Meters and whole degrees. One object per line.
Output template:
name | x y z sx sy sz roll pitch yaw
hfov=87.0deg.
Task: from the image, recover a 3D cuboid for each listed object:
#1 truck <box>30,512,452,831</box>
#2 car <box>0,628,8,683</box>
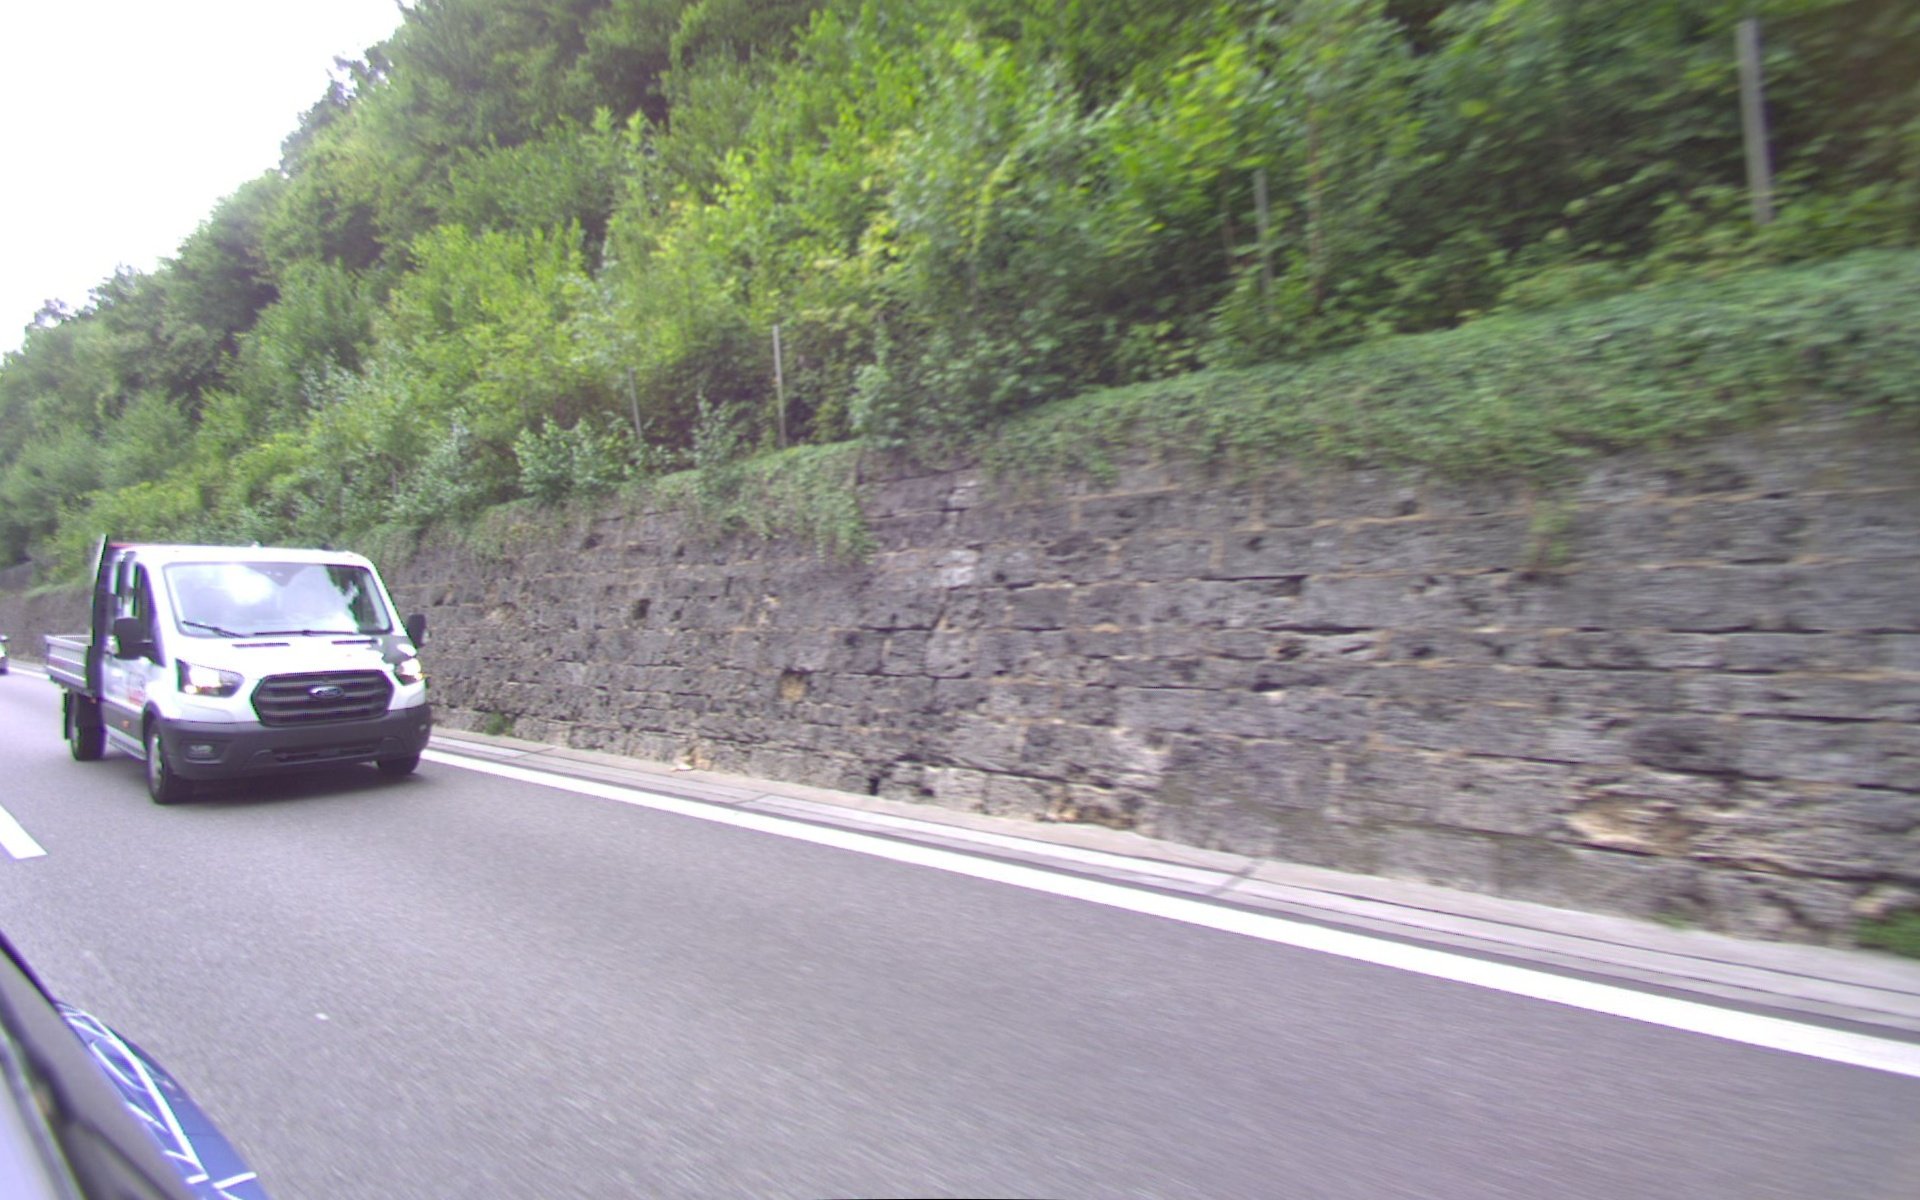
truck | -7.556 0.580 10.219 6.582 2.297 1.973 -2 -1 41
car | -29.997 1.674 30.342 4.600 1.589 1.689 -2 -1 41
